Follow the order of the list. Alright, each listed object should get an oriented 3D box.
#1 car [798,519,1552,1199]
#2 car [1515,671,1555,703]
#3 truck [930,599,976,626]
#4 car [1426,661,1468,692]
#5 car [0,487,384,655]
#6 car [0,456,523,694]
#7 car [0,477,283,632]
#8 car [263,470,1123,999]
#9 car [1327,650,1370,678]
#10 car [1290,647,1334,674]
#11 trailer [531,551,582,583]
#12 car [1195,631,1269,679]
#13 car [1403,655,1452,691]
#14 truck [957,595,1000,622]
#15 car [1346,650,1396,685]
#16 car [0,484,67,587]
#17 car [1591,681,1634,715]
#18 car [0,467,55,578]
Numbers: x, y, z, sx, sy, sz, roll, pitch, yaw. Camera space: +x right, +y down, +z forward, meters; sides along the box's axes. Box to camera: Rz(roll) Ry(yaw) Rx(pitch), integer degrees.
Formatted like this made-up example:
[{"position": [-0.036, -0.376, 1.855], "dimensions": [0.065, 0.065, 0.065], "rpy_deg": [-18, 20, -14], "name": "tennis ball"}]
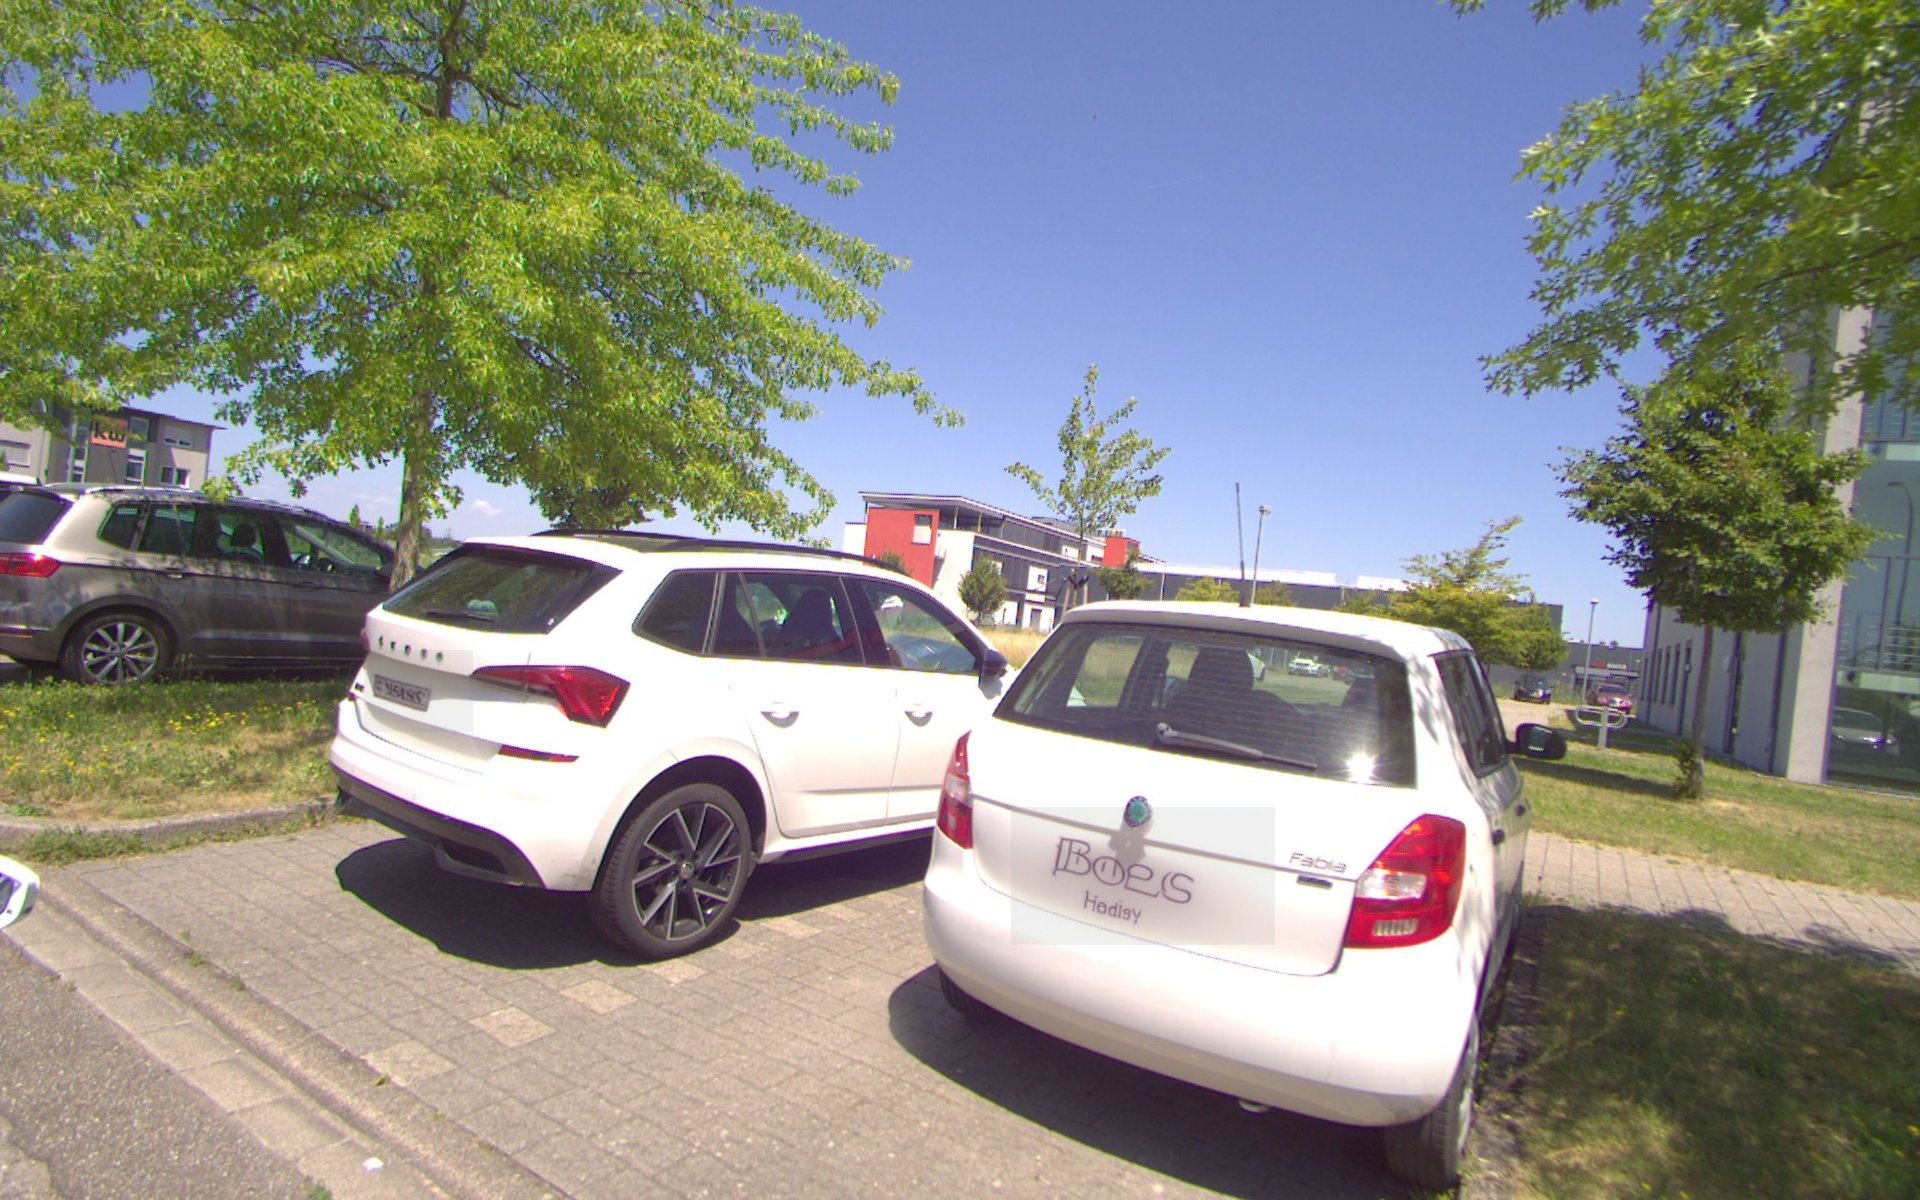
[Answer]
[{"position": [1.322, 0.722, 4.158], "dimensions": [1.750, 1.543, 3.838], "rpy_deg": [6, 0, 32], "name": "car"}, {"position": [32.482, 4.867, 56.802], "dimensions": [1.691, 1.528, 3.991], "rpy_deg": [6, 0, 32], "name": "car"}, {"position": [-0.614, 1.137, 90.529], "dimensions": [1.967, 2.038, 4.347], "rpy_deg": [6, 0, 31], "name": "truck"}, {"position": [28.416, 4.469, 58.645], "dimensions": [1.691, 1.528, 3.991], "rpy_deg": [6, 0, 32], "name": "car"}, {"position": [-8.430, -0.263, 10.307], "dimensions": [1.619, 1.471, 4.048], "rpy_deg": [6, 1, 32], "name": "car"}, {"position": [-6.315, -0.150, 9.058], "dimensions": [1.665, 1.646, 4.048], "rpy_deg": [6, 1, 32], "name": "car"}, {"position": [-10.692, -0.557, 11.304], "dimensions": [1.880, 1.581, 4.722], "rpy_deg": [6, 1, 28], "name": "car"}, {"position": [-0.936, 0.474, 5.091], "dimensions": [1.752, 1.573, 3.832], "rpy_deg": [7, 1, 37], "name": "car"}, {"position": [23.968, 3.957, 62.013], "dimensions": [1.691, 1.528, 3.991], "rpy_deg": [6, 0, 32], "name": "car"}, {"position": [22.153, 3.830, 63.293], "dimensions": [1.691, 1.470, 3.991], "rpy_deg": [6, 0, 32], "name": "car"}, {"position": [-39.784, -3.208, 99.316], "dimensions": [2.195, 2.632, 3.992], "rpy_deg": [6, 0, 30], "name": "trailer"}, {"position": [10.273, 2.088, 37.809], "dimensions": [1.691, 1.528, 3.326], "rpy_deg": [6, 0, 32], "name": "car"}, {"position": [23.013, 3.570, 49.419], "dimensions": [1.690, 1.528, 3.992], "rpy_deg": [6, 0, 30], "name": "car"}, {"position": [1.661, 0.770, 89.543], "dimensions": [1.967, 2.038, 3.992], "rpy_deg": [6, 0, 31], "name": "truck"}, {"position": [20.988, 3.456, 51.266], "dimensions": [1.690, 1.528, 3.992], "rpy_deg": [6, 0, 30], "name": "car"}, {"position": [-15.879, -1.112, 14.884], "dimensions": [1.649, 1.522, 3.632], "rpy_deg": [6, 1, 32], "name": "car"}, {"position": [35.435, 5.284, 54.690], "dimensions": [1.691, 1.528, 3.991], "rpy_deg": [6, 0, 32], "name": "car"}, {"position": [-18.120, -1.498, 16.585], "dimensions": [1.766, 1.853, 4.404], "rpy_deg": [6, 1, 33], "name": "car"}]
